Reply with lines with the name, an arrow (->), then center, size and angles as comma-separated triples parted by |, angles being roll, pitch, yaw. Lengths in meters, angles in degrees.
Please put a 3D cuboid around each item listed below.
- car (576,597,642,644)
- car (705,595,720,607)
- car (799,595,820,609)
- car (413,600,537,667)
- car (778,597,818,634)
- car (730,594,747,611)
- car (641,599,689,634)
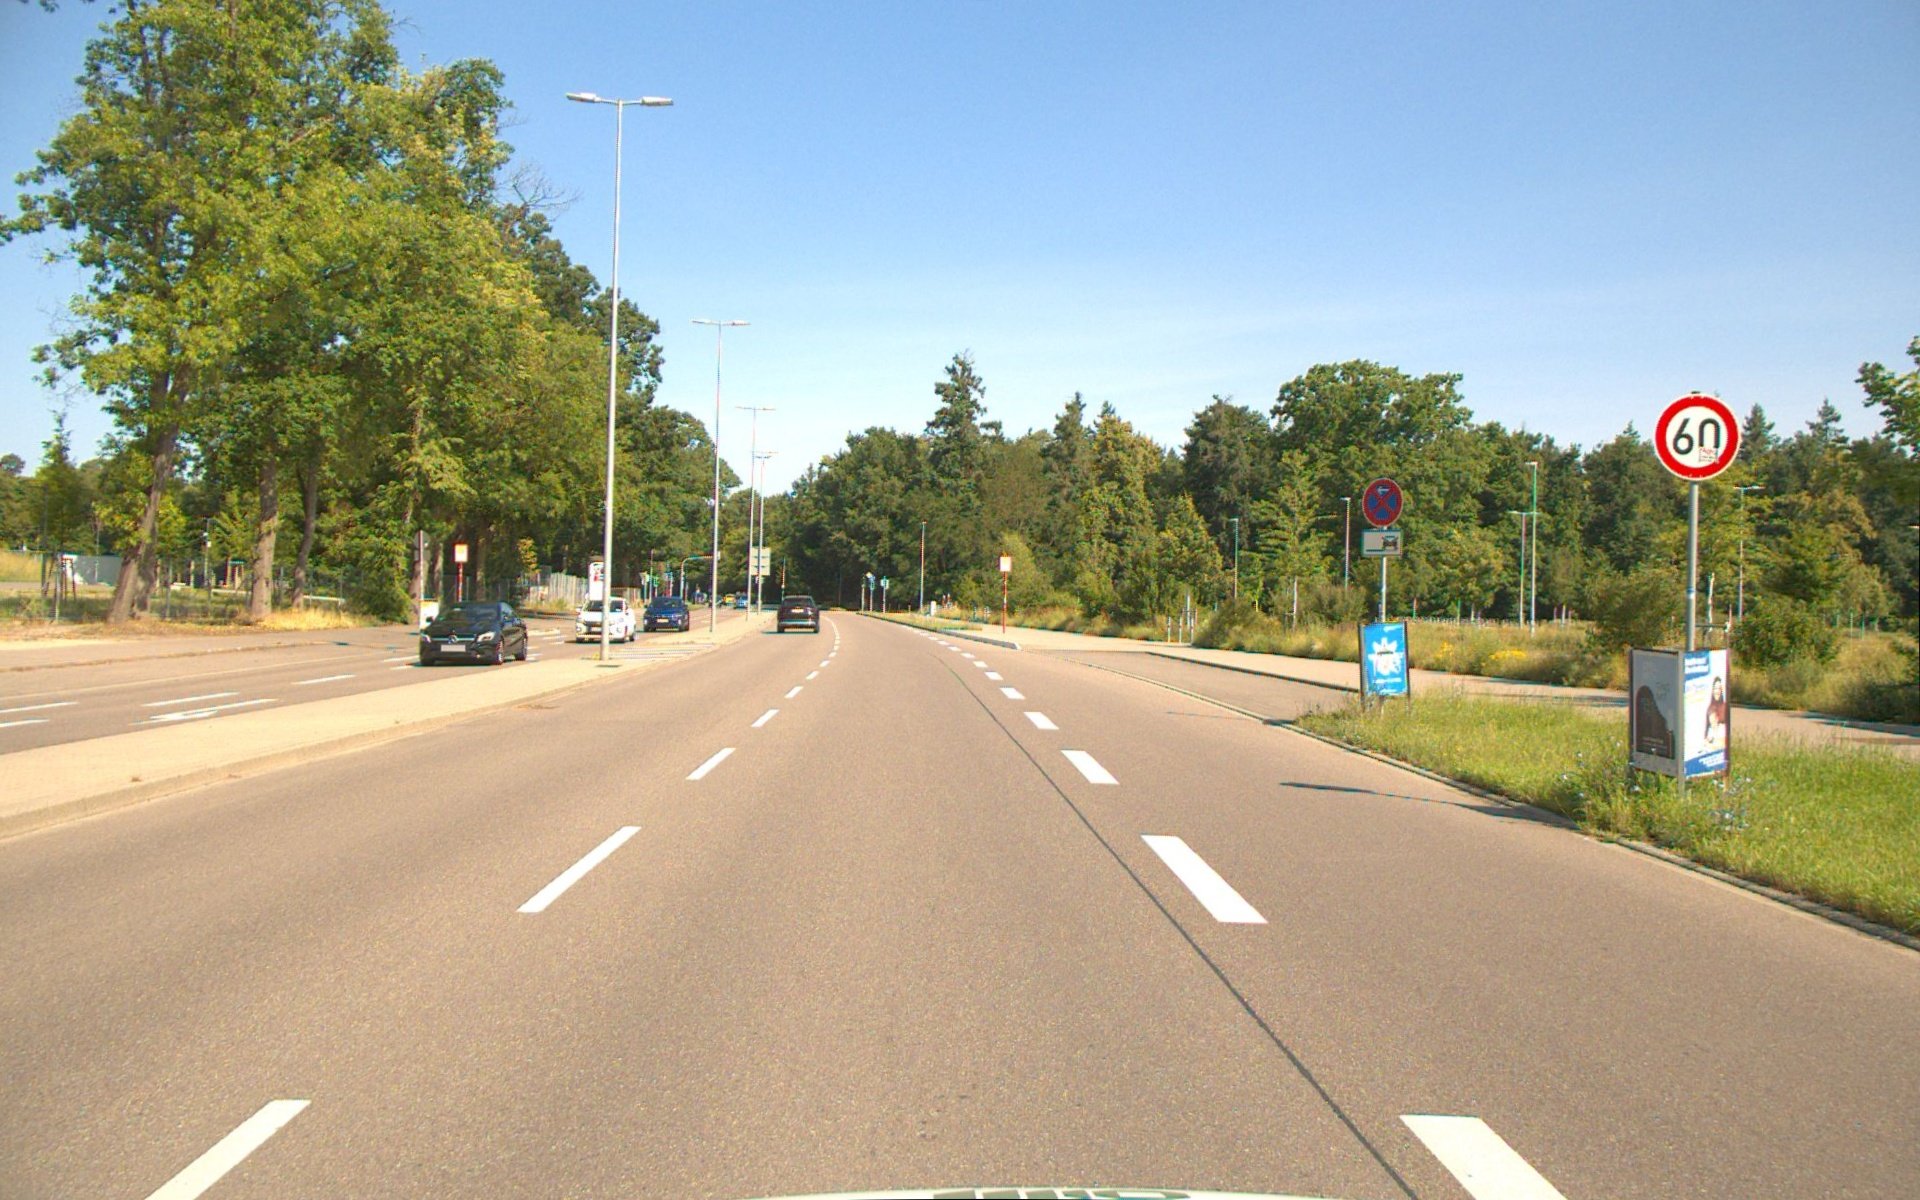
car -> -11.767, 0.665, 55.636 | 1.590, 1.492, 3.798 | -1, 0, -3
car -> -32.152, 0.099, 215.200 | 1.760, 1.504, 3.994 | 2, 0, -7
car -> -16.256, 0.252, 178.877 | 1.905, 1.445, 4.283 | 1, 0, -9
car -> -11.155, 0.737, 38.312 | 1.774, 1.412, 4.159 | -1, 0, -3
car -> -7.042, 0.646, 71.850 | 1.655, 1.571, 4.142 | 0, 0, -7
car -> -25.987, 0.335, 194.227 | 1.805, 1.966, 4.624 | 0, 0, -5
car -> -13.169, 0.707, 73.965 | 1.719, 1.512, 3.943 | -1, 0, -5
